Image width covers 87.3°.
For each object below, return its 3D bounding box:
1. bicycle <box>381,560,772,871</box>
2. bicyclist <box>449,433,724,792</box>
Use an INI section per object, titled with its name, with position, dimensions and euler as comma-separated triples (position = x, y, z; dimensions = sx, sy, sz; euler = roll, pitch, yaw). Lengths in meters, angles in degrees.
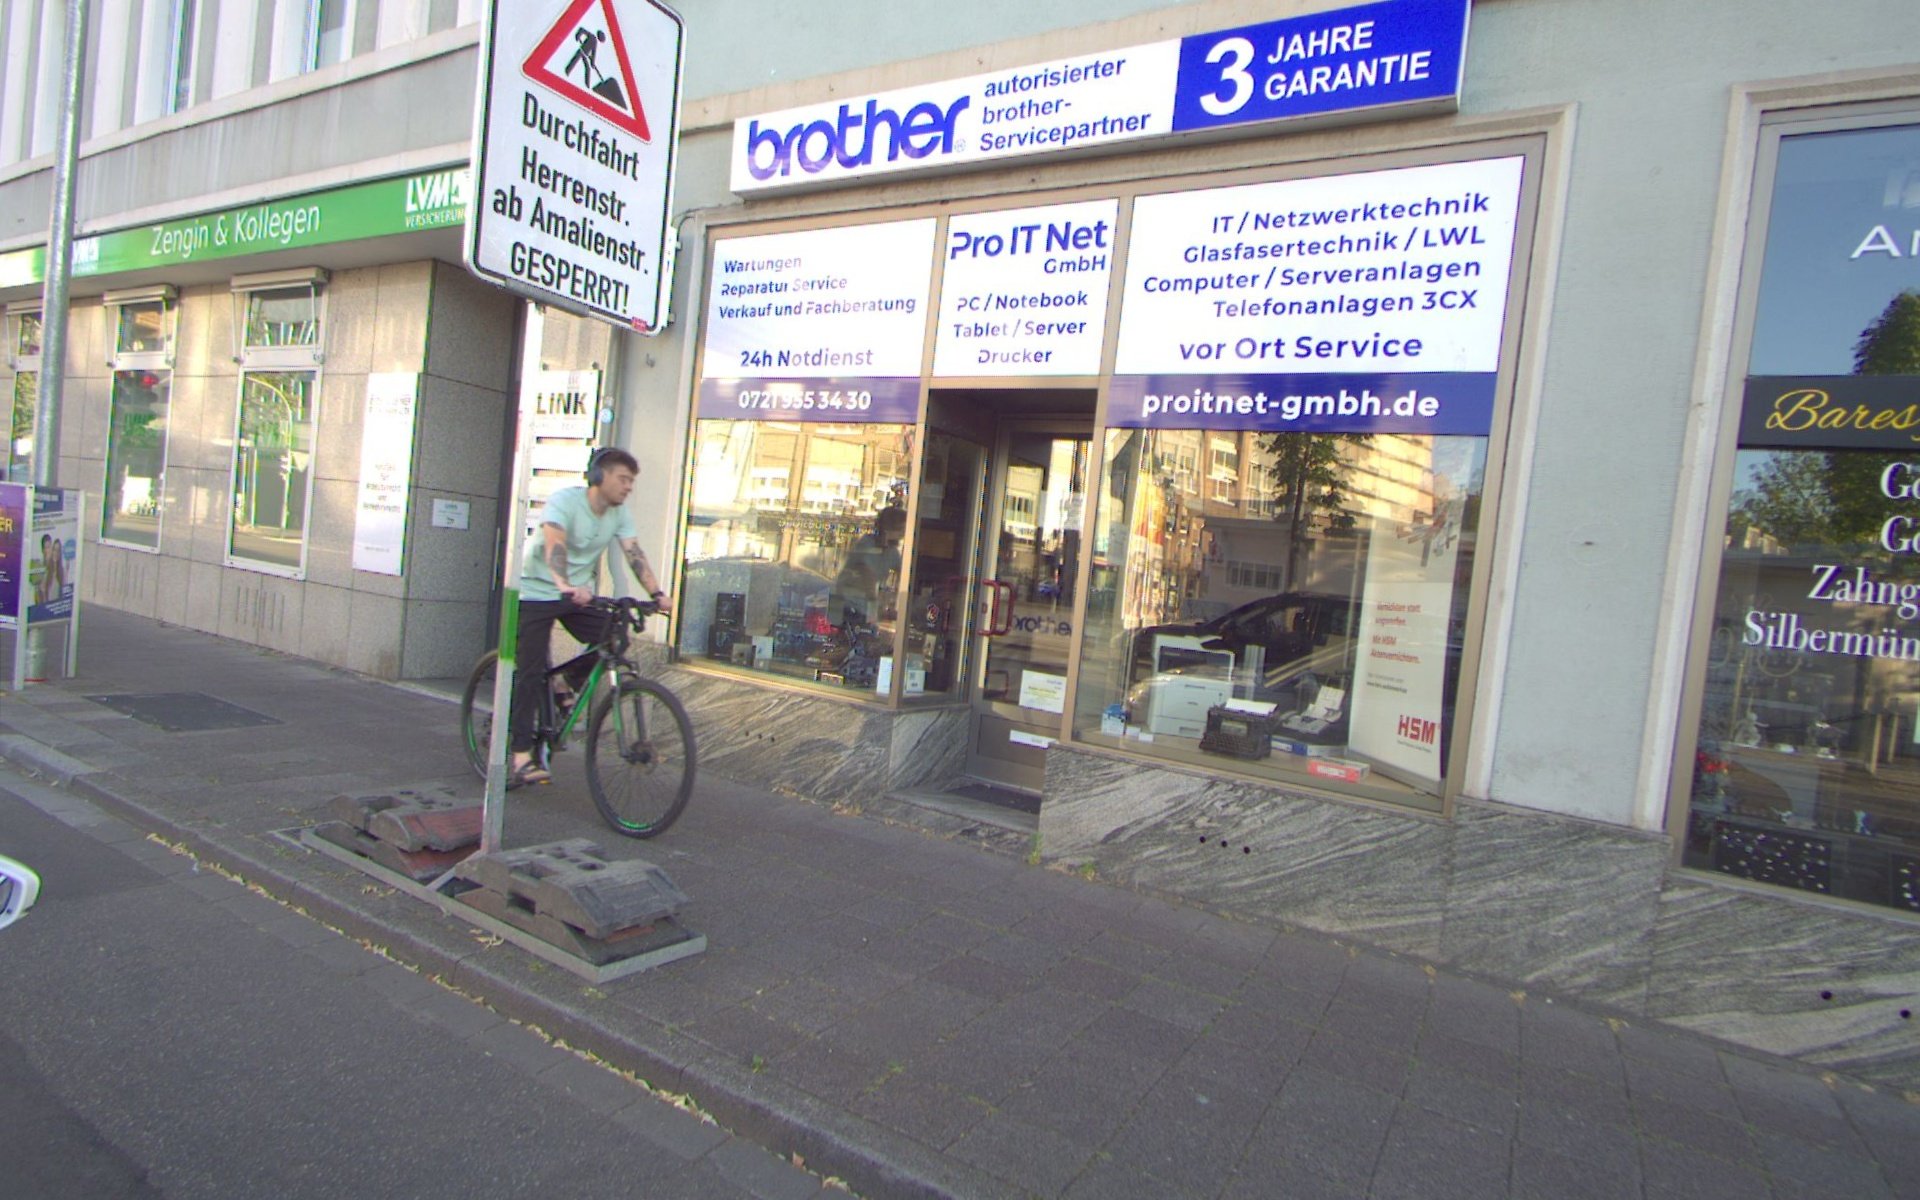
[bicycle]
position = -1.901, 0.473, 4.885
dimensions = 1.864, 1.121, 0.690
euler = 7, 2, 31
[bicyclist]
position = -1.789, 0.038, 4.833
dimensions = 0.885, 1.527, 0.722
euler = 7, 2, 32
